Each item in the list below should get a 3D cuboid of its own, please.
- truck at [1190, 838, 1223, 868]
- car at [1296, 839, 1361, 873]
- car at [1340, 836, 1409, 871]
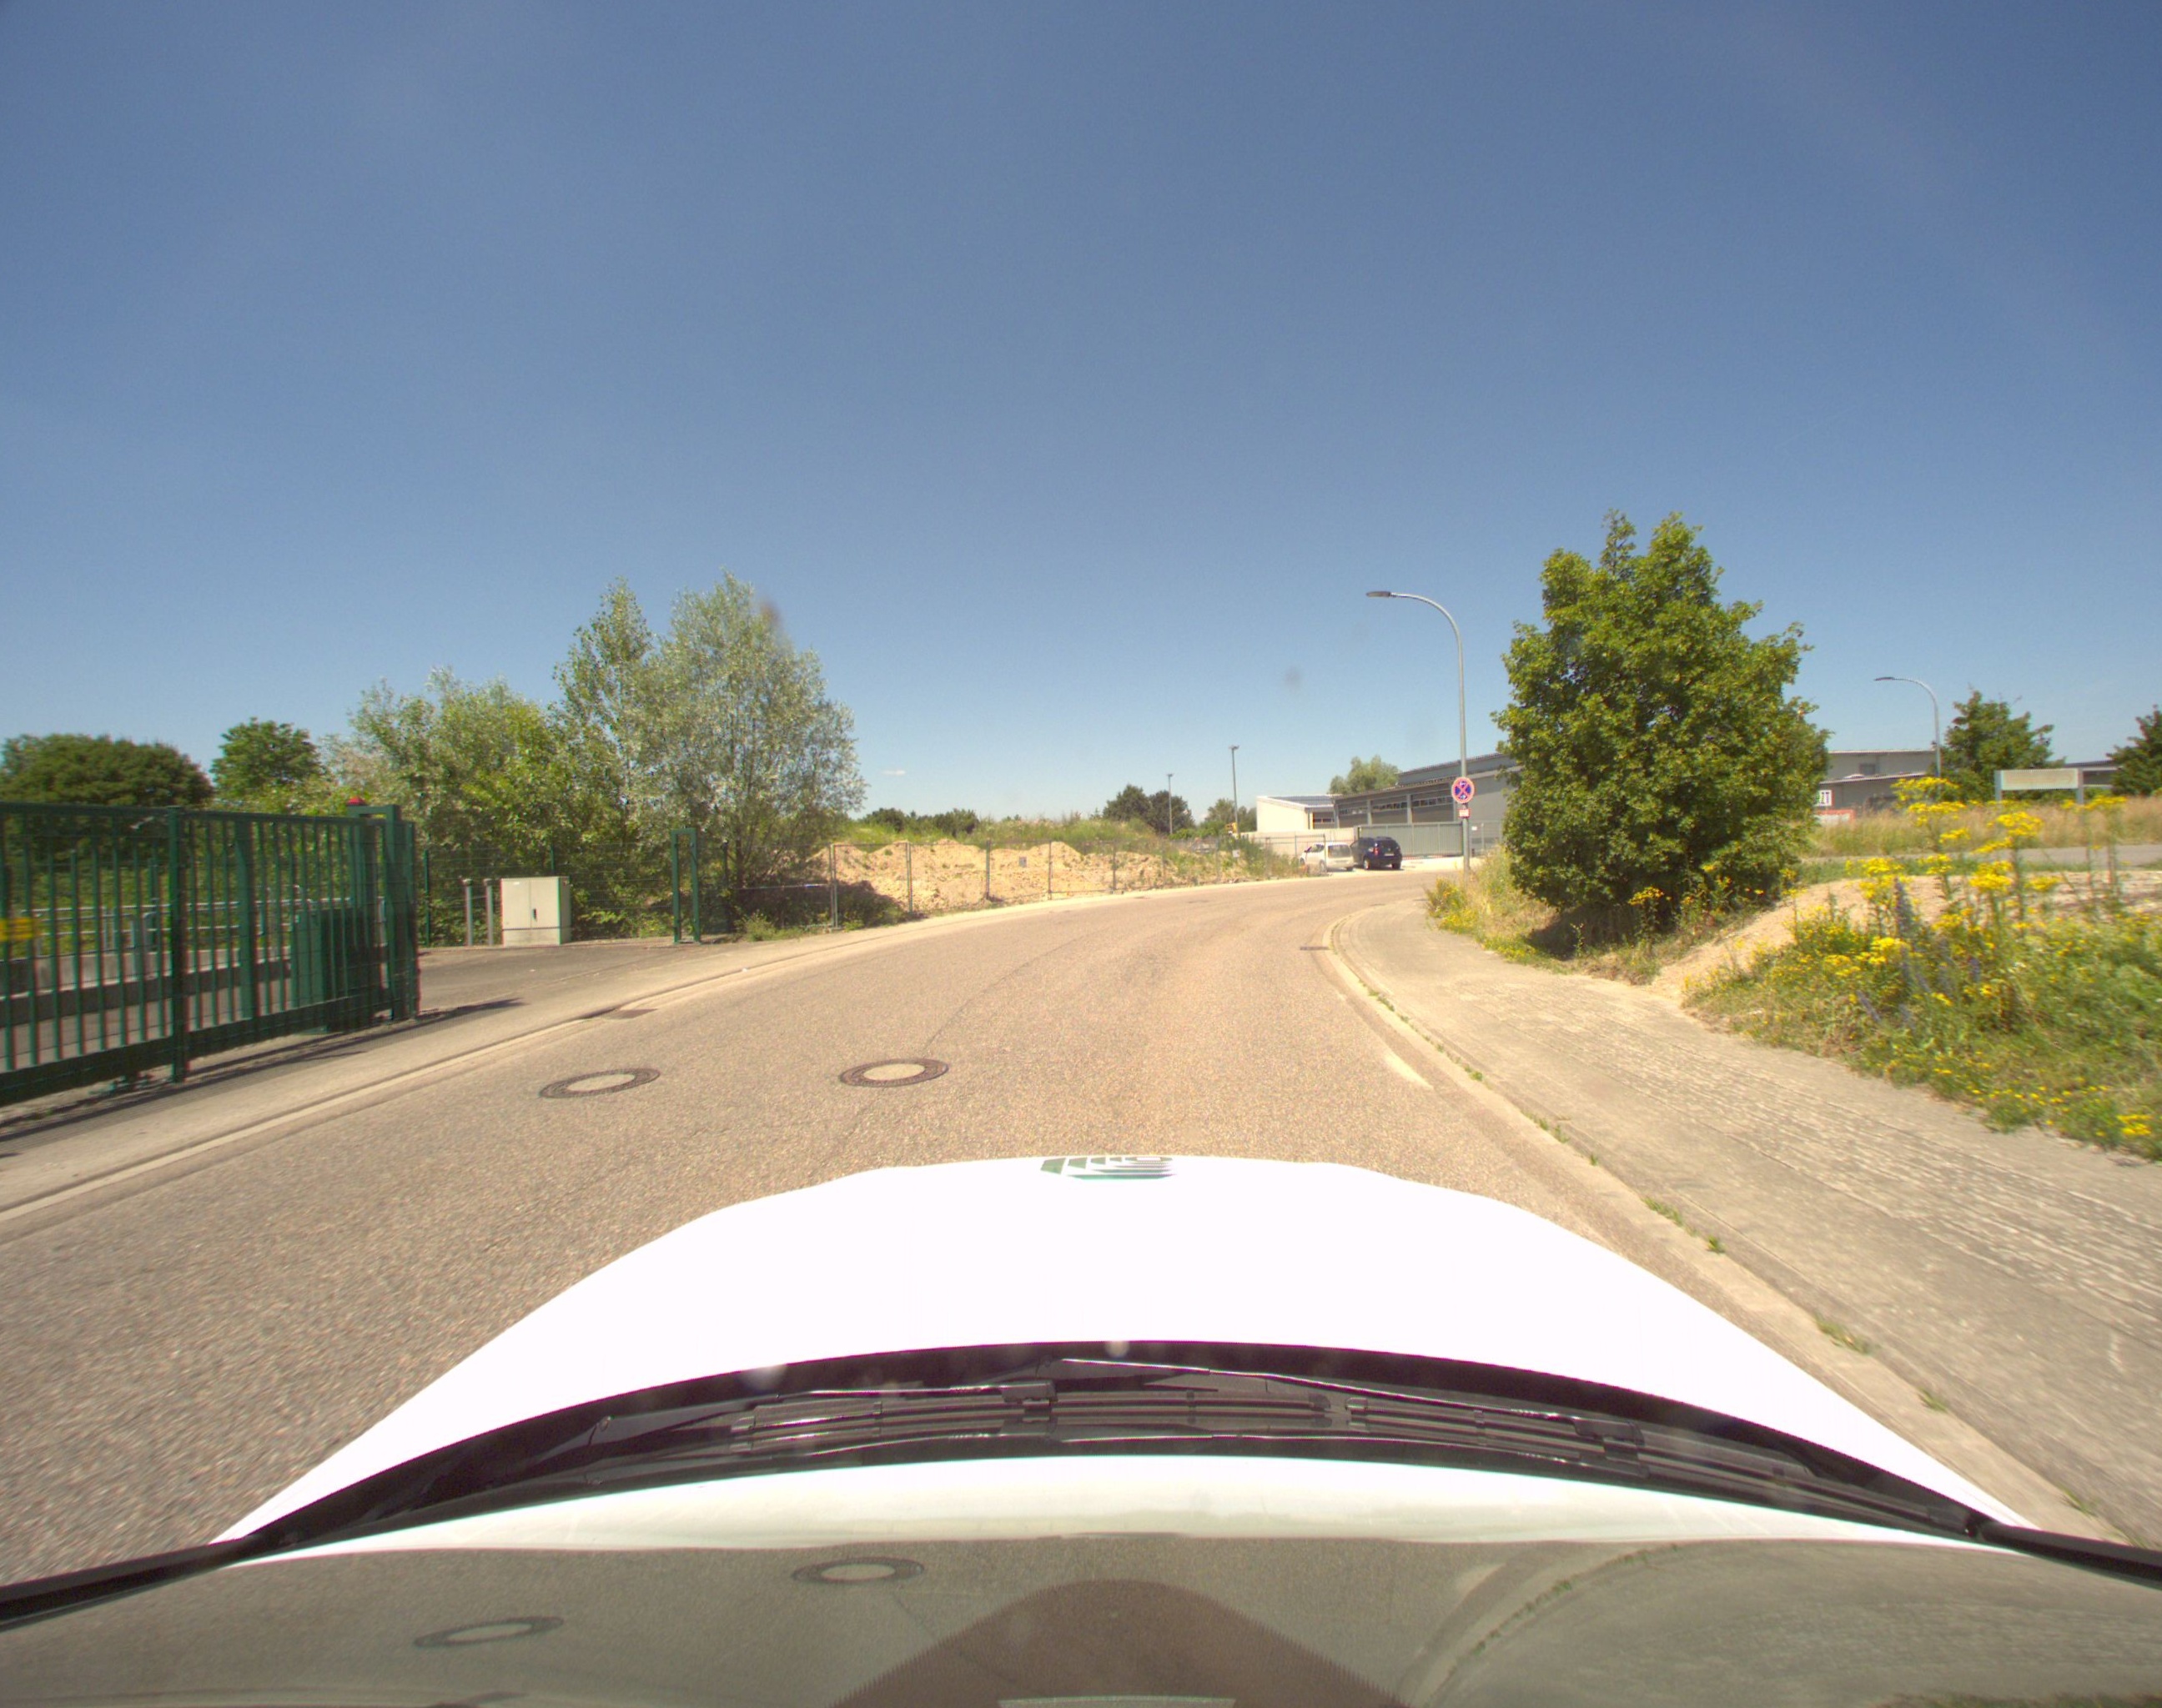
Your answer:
[{"bbox_3d":[13.290,-0.096,86.383,1.993,2.984,4.631,-3,0,-9],"label":"truck"},{"bbox_3d":[12.861,0.058,42.563,1.783,1.498,3.691,-3,3,-10],"label":"car"},{"bbox_3d":[15.332,-0.063,42.691,1.794,1.608,3.691,-3,3,-10],"label":"car"}]
